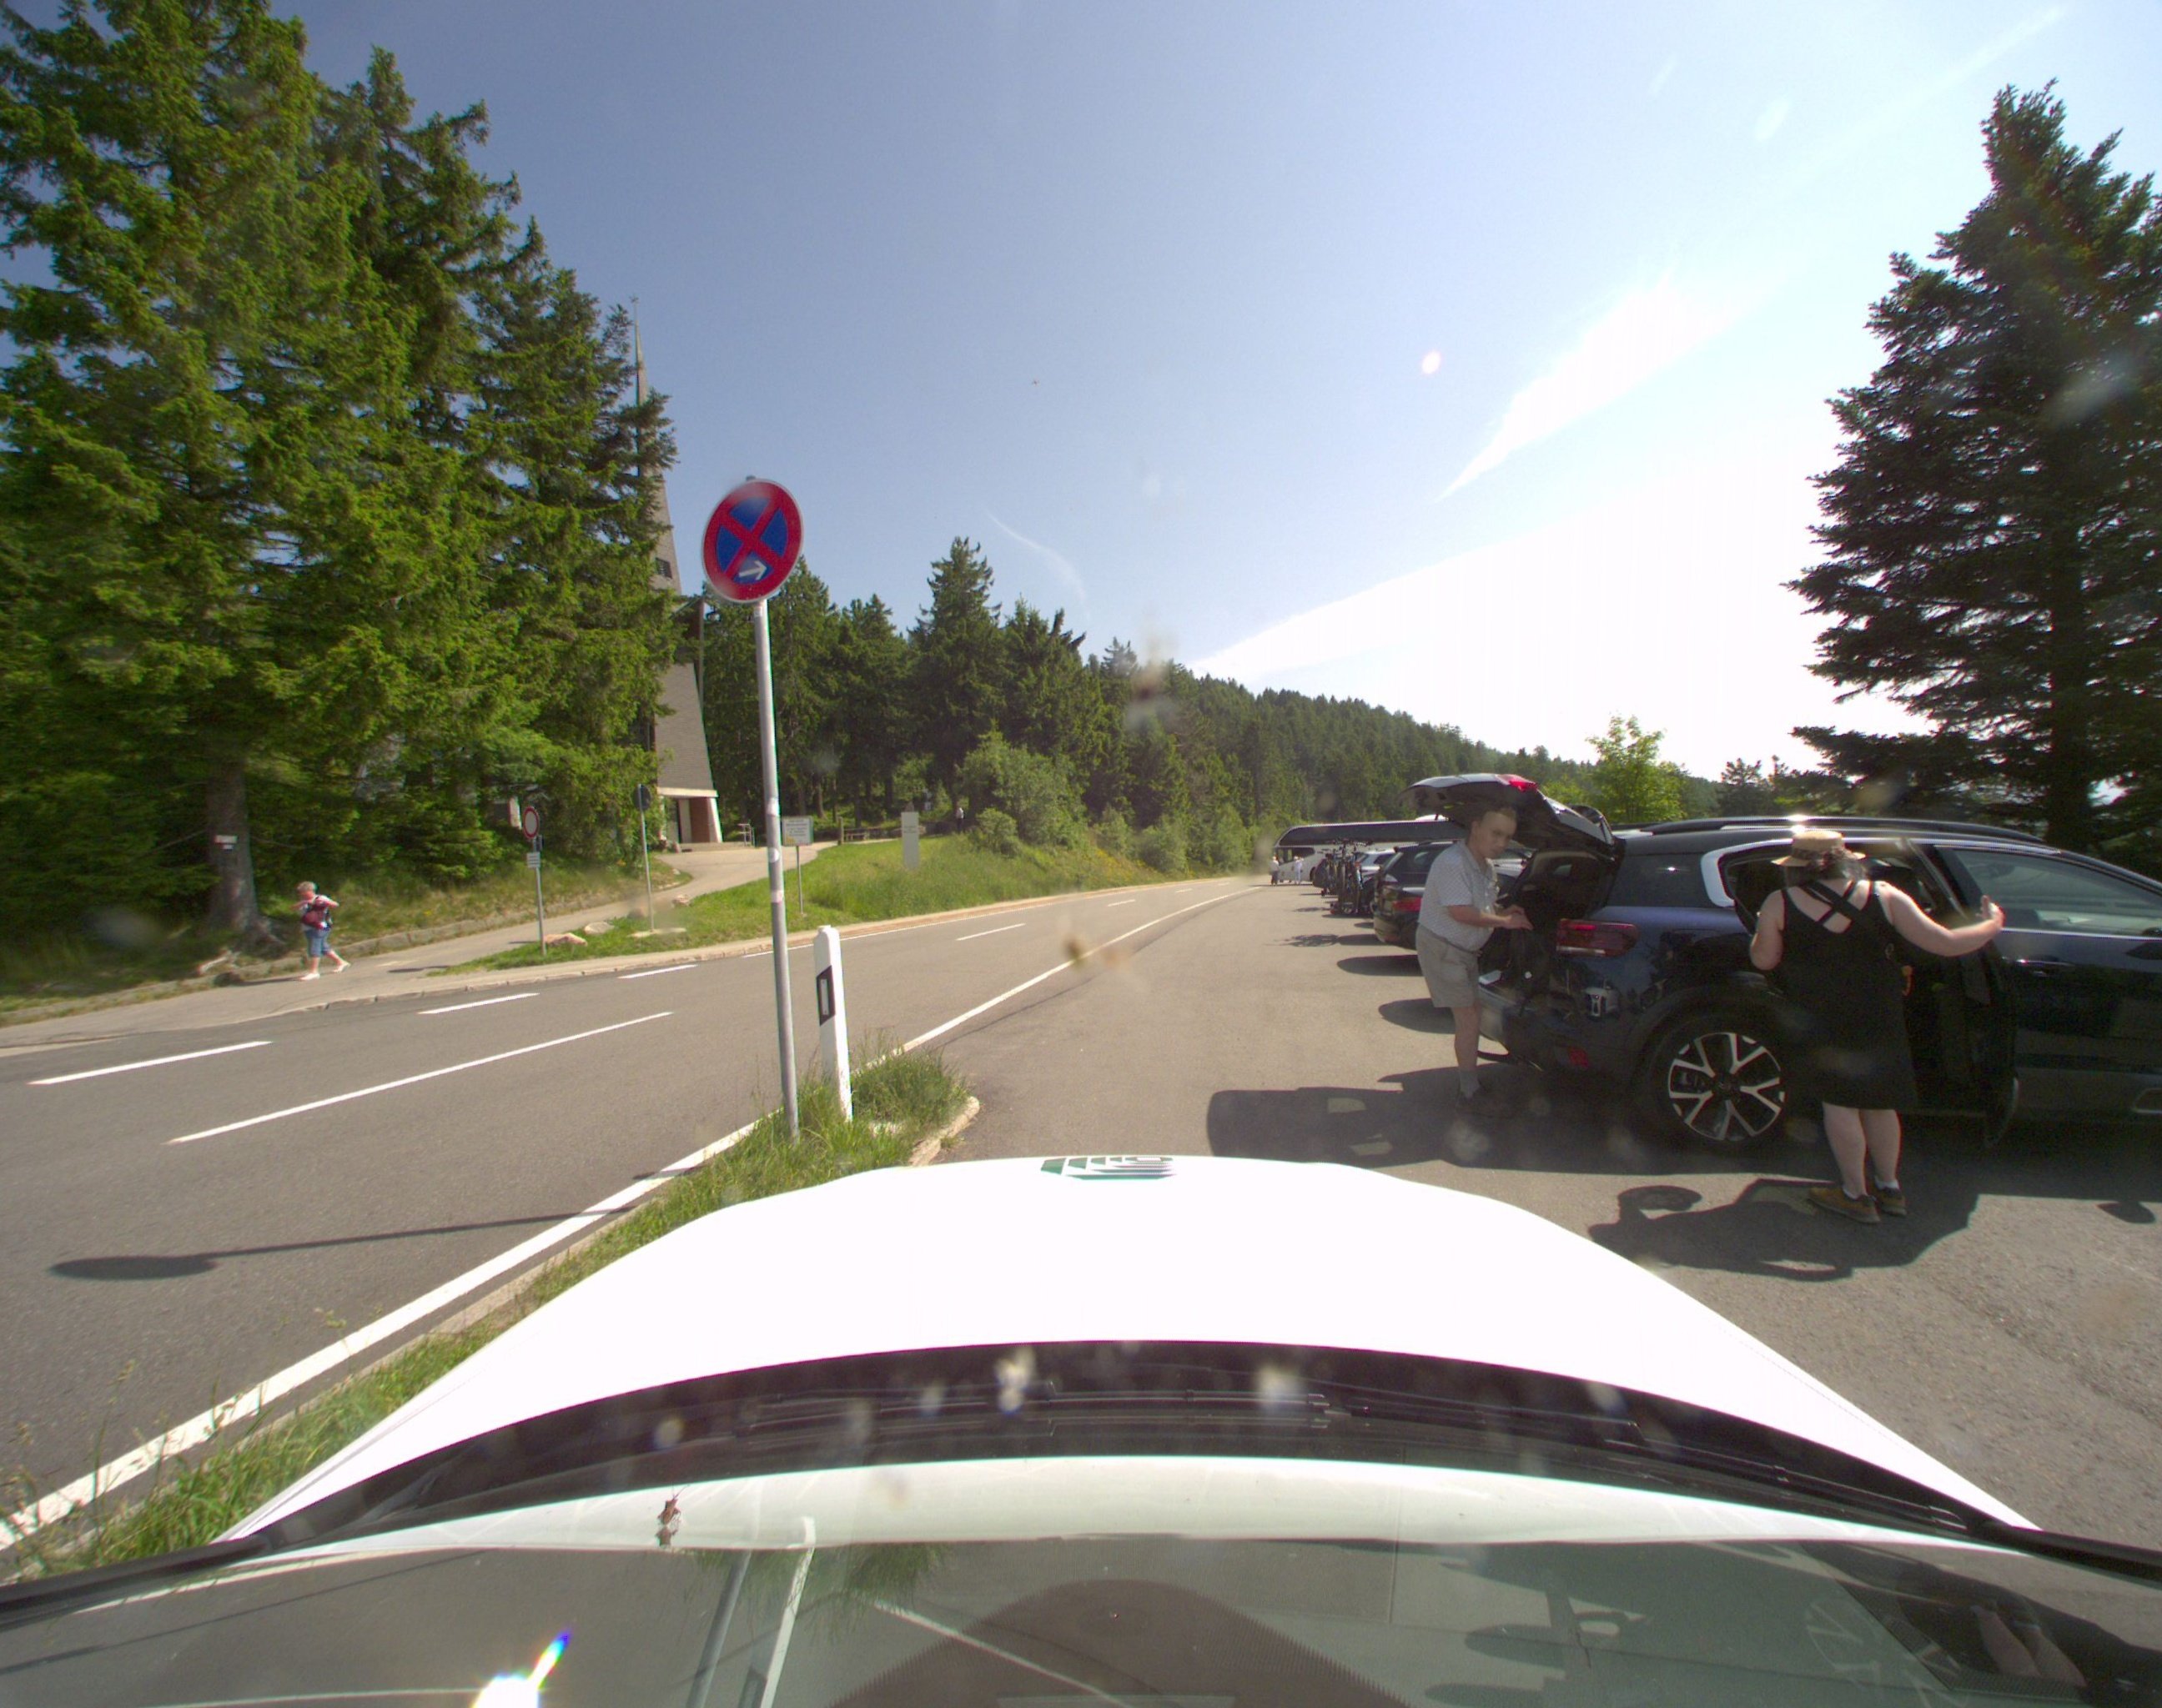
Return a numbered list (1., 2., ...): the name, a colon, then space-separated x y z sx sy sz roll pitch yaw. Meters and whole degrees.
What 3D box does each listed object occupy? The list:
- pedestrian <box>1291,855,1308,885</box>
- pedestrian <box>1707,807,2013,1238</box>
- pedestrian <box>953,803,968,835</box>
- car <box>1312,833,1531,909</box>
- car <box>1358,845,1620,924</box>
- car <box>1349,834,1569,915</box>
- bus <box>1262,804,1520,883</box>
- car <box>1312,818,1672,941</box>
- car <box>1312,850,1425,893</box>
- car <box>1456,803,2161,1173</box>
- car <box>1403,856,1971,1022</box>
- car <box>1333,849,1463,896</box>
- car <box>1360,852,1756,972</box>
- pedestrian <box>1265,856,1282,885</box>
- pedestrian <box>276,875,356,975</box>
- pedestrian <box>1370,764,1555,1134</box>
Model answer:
1. pedestrian: 12.225 0.889 45.635 0.764 1.585 0.776 -3 -1 21
2. pedestrian: 3.177 0.637 3.390 0.709 1.613 0.538 -1 -1 11
3. pedestrian: -7.466 -2.169 50.436 0.676 1.878 0.543 -4 -1 10
4. car: 8.730 0.456 21.397 4.997 1.651 2.056 -3 -1 14
5. car: 7.693 0.580 15.803 4.213 1.269 1.845 -3 -1 14
6. car: 8.420 0.463 18.540 4.213 1.554 1.845 -3 -1 14
7. bus: 17.127 -0.455 45.829 12.974 3.533 3.061 -3 -1 24
8. car: 6.384 0.434 13.331 4.910 1.695 1.953 -3 -1 16
9. car: 11.089 0.667 31.710 3.958 1.449 1.868 -3 -1 14
10. car: 4.666 0.608 4.579 4.318 1.626 1.874 1 -1 9
11. car: 5.409 0.719 7.750 4.061 1.376 1.705 0 -1 5
12. car: 10.816 0.628 28.081 3.958 1.398 1.626 -3 -1 14
13. car: 5.865 0.687 10.476 4.058 1.376 1.706 0 -1 8
14. pedestrian: 10.927 0.921 46.188 0.764 1.585 0.776 -3 -1 21
15. pedestrian: -13.549 1.243 14.440 0.715 1.681 0.684 -4 -1 8
16. pedestrian: 2.172 0.466 4.628 0.728 1.870 0.762 0 2 45
